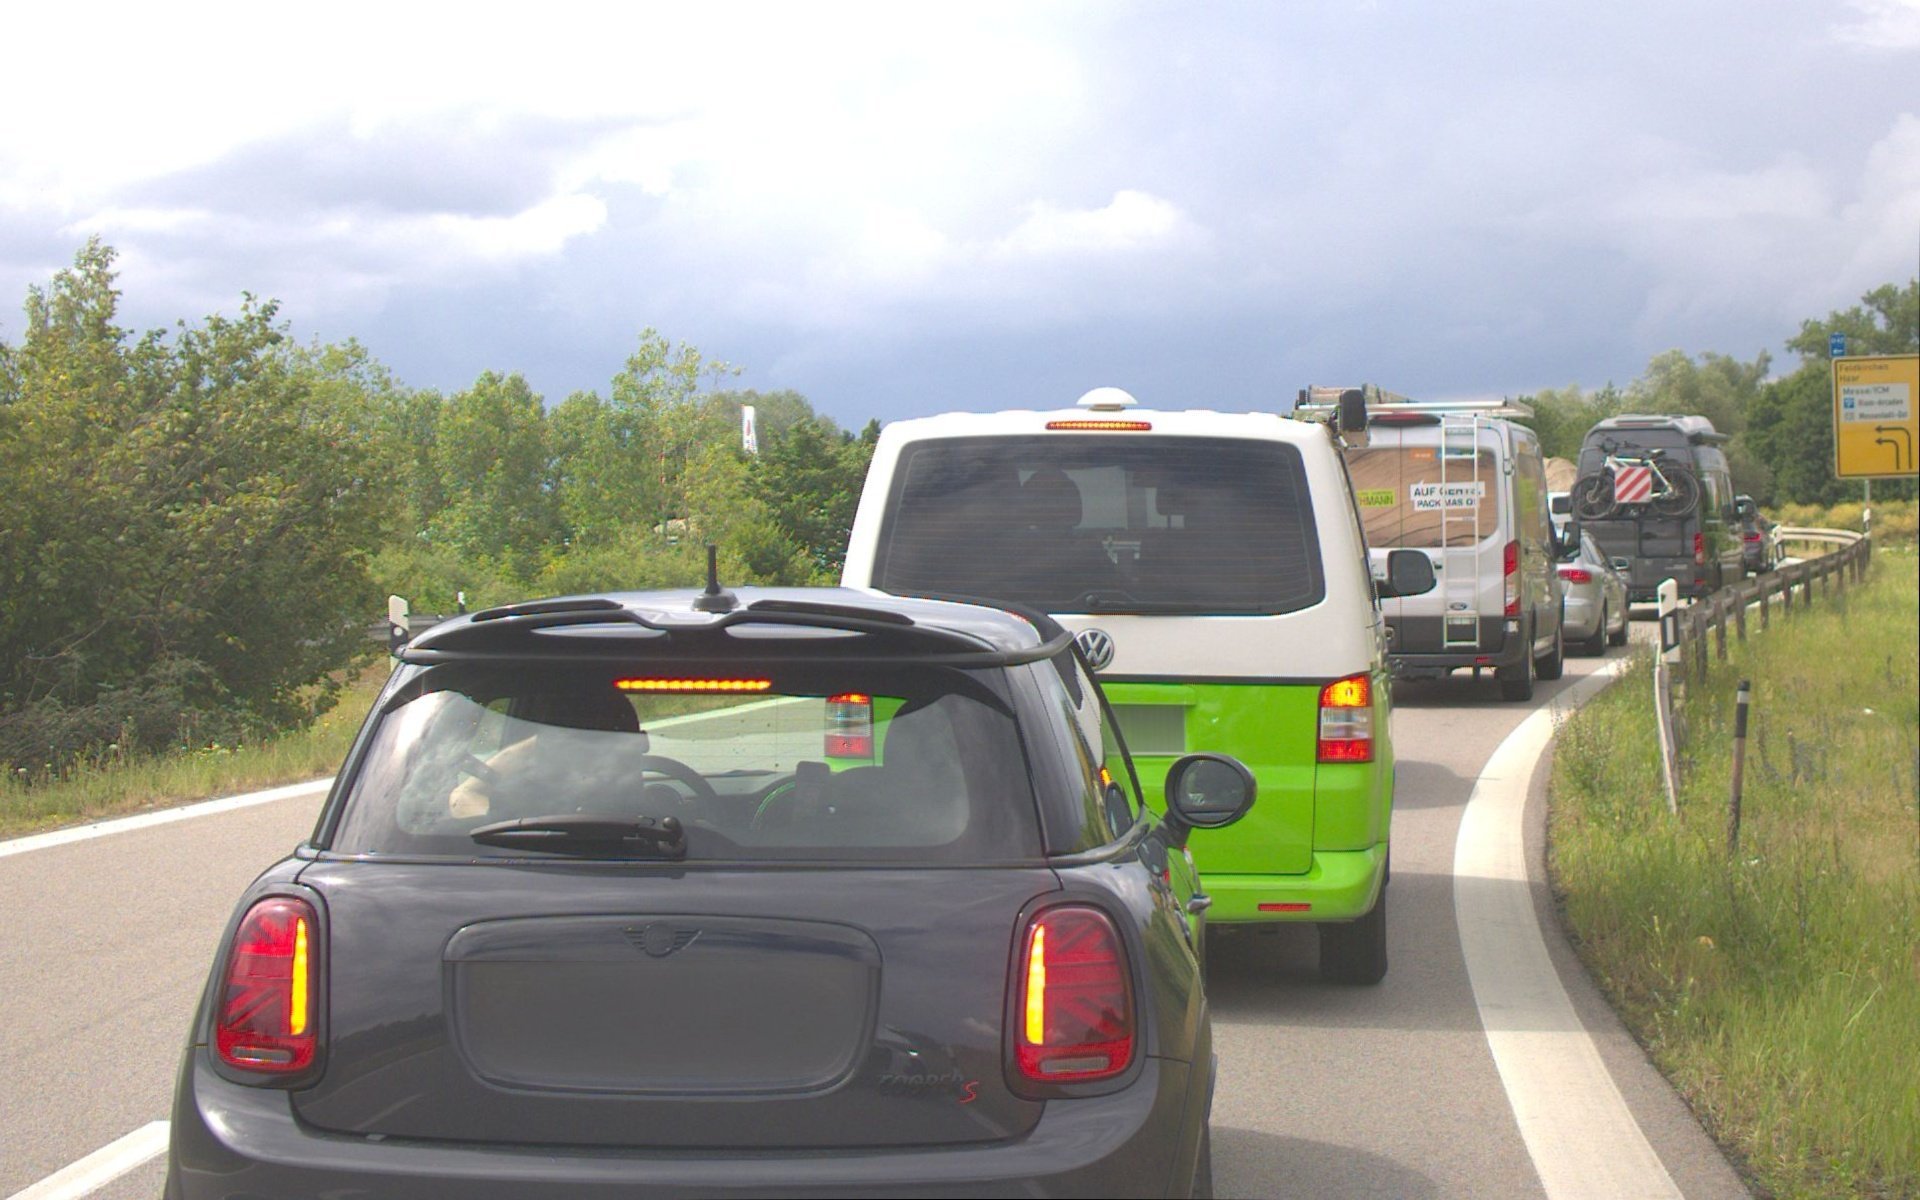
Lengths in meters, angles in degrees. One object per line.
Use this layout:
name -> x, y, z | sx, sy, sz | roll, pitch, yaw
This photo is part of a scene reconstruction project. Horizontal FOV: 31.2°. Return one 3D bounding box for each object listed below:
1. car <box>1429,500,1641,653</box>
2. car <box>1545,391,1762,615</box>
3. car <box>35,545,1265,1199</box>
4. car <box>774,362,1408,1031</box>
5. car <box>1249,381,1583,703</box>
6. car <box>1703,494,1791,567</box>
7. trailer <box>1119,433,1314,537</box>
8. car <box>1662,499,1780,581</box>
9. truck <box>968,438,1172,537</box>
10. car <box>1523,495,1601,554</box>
car -> 6.636, -0.275, 39.360 | 1.995, 1.636, 3.926 | 1, 1, 15
car -> 10.295, -1.367, 50.596 | 2.313, 3.058, 6.656 | 1, 1, 18
car -> -0.348, 0.673, 6.870 | 1.800, 1.541, 3.738 | 0, 1, 4
car -> 0.661, 0.260, 12.685 | 1.911, 2.038, 4.180 | 0, 1, 8
car -> 4.207, -0.504, 30.829 | 2.213, 2.613, 5.530 | 1, 1, 15
car -> 21.005, -1.845, 91.945 | 2.096, 1.876, 4.493 | 1, 1, 11
trailer -> 10.043, -4.476, 135.808 | 3.036, 3.884, 8.773 | 1, 1, -32
car -> 15.455, -1.192, 69.683 | 1.895, 1.583, 4.491 | 1, 1, 18
truck -> 4.496, -4.627, 143.374 | 2.837, 3.962, 10.028 | 0, 1, -37
car -> 19.874, -2.466, 113.667 | 2.095, 1.876, 4.494 | 1, 1, 5
